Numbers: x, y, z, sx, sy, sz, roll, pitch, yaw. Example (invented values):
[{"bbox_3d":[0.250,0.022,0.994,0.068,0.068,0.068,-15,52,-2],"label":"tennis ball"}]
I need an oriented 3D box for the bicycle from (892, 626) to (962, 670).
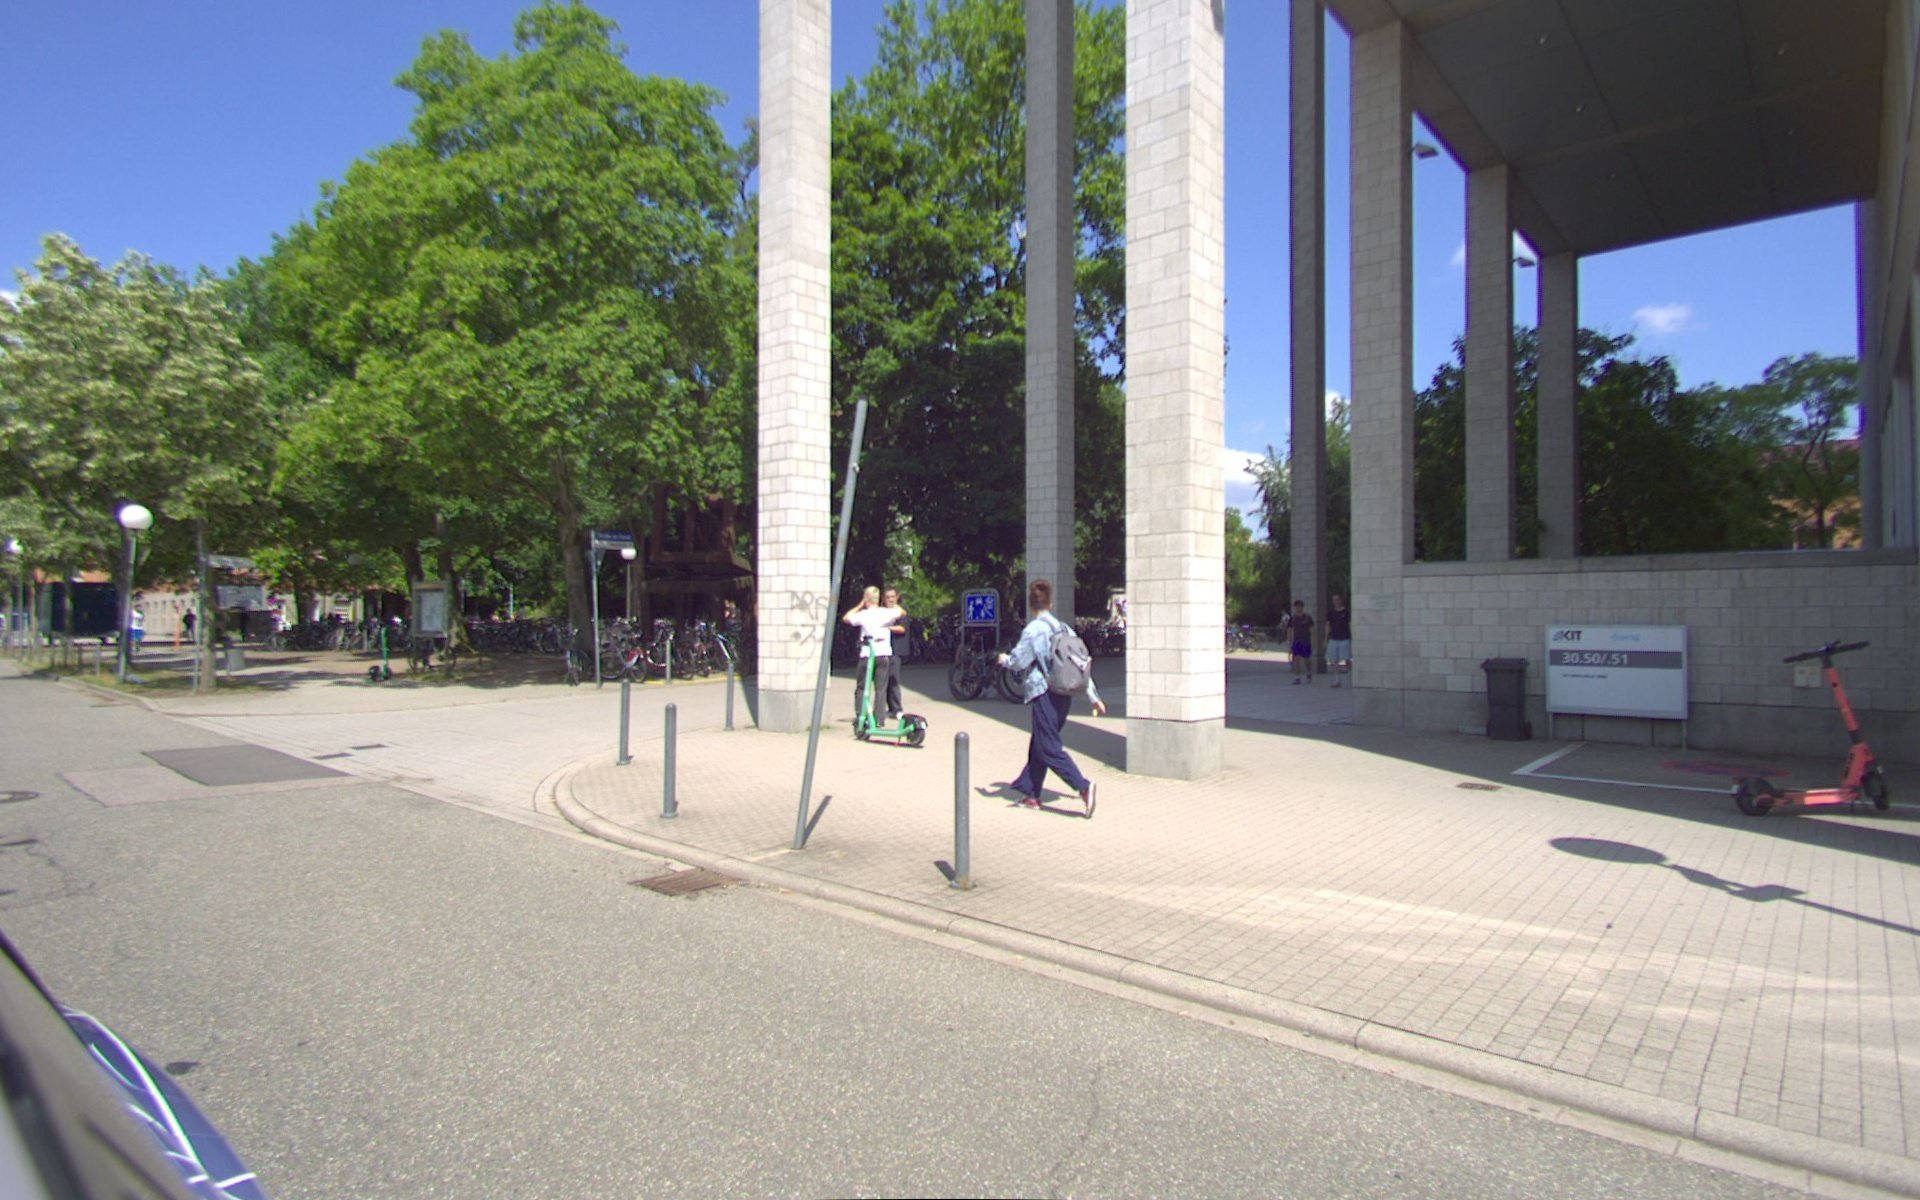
[{"bbox_3d":[-0.886,1.232,26.392,1.972,1.094,0.546,-1,0,42],"label":"bicycle"}]

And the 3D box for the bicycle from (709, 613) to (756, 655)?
[{"bbox_3d":[-7.504,1.103,33.516,0.870,1.306,3.083,-1,-1,-1],"label":"bicycle"}]

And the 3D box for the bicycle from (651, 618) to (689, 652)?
[{"bbox_3d":[-11.028,1.320,38.567,0.632,1.141,2.057,-2,2,6],"label":"bicycle"}]

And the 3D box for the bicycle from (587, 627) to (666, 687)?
[{"bbox_3d":[-6.585,1.103,19.926,1.972,1.094,0.546,-1,0,42],"label":"bicycle"}]

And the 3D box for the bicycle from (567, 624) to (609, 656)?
[{"bbox_3d":[-14.312,1.524,38.978,0.632,1.141,2.056,-2,0,6],"label":"bicycle"}]

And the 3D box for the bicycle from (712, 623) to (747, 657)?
[{"bbox_3d":[-8.636,1.478,37.963,0.632,1.141,2.056,-2,1,6],"label":"bicycle"}]

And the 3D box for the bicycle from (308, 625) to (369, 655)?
[{"bbox_3d":[-22.449,1.425,36.609,0.670,1.016,2.148,-1,-1,9],"label":"bicycle"}]

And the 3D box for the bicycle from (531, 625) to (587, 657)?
[{"bbox_3d":[-13.747,1.380,34.811,0.870,1.010,2.734,-1,-1,-1],"label":"bicycle"}]

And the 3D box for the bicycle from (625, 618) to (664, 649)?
[{"bbox_3d":[-12.062,1.273,38.768,0.632,1.141,2.056,-2,-1,6],"label":"bicycle"}]

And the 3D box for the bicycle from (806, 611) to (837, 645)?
[{"bbox_3d":[-5.130,1.018,37.570,0.632,1.141,2.057,-2,2,6],"label":"bicycle"}]

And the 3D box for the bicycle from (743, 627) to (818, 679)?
[{"bbox_3d":[-4.044,1.161,22.670,1.972,1.094,0.546,-1,0,42],"label":"bicycle"}]

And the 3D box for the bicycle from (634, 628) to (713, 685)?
[{"bbox_3d":[-5.818,1.120,20.502,1.972,1.094,0.546,-1,0,42],"label":"bicycle"}]

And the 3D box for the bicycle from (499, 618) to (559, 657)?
[{"bbox_3d":[-14.884,1.270,35.067,0.870,1.229,2.909,-1,-1,-1],"label":"bicycle"}]

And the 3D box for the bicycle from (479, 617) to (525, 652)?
[{"bbox_3d":[-17.924,1.331,39.653,0.632,1.244,2.056,-2,0,6],"label":"bicycle"}]

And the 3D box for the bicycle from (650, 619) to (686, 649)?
[{"bbox_3d":[-11.882,1.356,41.220,0.632,1.141,2.056,-2,-1,6],"label":"bicycle"}]

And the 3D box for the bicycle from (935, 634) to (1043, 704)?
[{"bbox_3d":[0.425,1.076,15.861,0.459,1.022,1.866,-1,-2,-44],"label":"bicycle"}]

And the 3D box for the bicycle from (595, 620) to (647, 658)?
[{"bbox_3d":[-11.425,1.286,34.230,0.870,1.188,2.709,-1,-1,-1],"label":"bicycle"}]

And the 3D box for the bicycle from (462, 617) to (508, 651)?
[{"bbox_3d":[-18.673,1.325,39.850,0.632,1.244,2.056,-2,-1,6],"label":"bicycle"}]

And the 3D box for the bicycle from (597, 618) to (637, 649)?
[{"bbox_3d":[-13.189,1.272,38.936,0.632,1.141,2.056,-2,-1,6],"label":"bicycle"}]

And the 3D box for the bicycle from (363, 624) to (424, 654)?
[{"bbox_3d":[-20.148,1.375,36.038,0.671,1.016,2.146,-1,-1,11],"label":"bicycle"}]

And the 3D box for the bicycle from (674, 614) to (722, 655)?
[{"bbox_3d":[-8.713,1.126,33.822,0.870,1.296,2.934,-1,-1,-1],"label":"bicycle"}]

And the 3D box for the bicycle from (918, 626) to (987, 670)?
[{"bbox_3d":[-0.208,1.247,26.825,1.972,1.094,0.546,-1,0,42],"label":"bicycle"}]

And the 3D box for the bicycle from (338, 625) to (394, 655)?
[{"bbox_3d":[-21.337,1.429,36.391,0.671,1.016,1.885,-1,-1,12],"label":"bicycle"}]

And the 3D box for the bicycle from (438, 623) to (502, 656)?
[{"bbox_3d":[-16.941,1.353,35.075,0.870,1.058,2.834,-1,-1,-1],"label":"bicycle"}]

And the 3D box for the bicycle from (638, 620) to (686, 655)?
[{"bbox_3d":[-9.996,1.249,34.059,0.870,1.084,2.684,-1,-1,-1],"label":"bicycle"}]

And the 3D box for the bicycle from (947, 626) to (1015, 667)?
[{"bbox_3d":[0.563,1.265,27.941,1.972,1.094,0.546,-1,0,42],"label":"bicycle"}]

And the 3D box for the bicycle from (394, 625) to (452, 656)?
[{"bbox_3d":[-18.853,1.397,35.626,0.668,1.016,2.651,-1,-1,-1],"label":"bicycle"}]

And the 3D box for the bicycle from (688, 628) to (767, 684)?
[{"bbox_3d":[-4.868,1.142,21.127,1.972,1.094,0.546,-1,0,42],"label":"bicycle"}]

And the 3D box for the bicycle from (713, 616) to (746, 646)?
[{"bbox_3d":[-9.312,1.230,40.926,0.632,1.141,2.056,-2,-1,6],"label":"bicycle"}]

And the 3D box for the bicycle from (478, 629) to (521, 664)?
[{"bbox_3d":[-17.455,1.743,38.390,0.473,1.141,2.057,-2,2,6],"label":"bicycle"}]

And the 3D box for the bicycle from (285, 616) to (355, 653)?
[{"bbox_3d":[-23.597,1.248,37.348,0.804,1.244,2.044,-1,1,24],"label":"bicycle"}]

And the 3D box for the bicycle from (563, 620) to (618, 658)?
[{"bbox_3d":[-12.651,1.304,34.741,0.870,1.187,2.884,-1,-1,-1],"label":"bicycle"}]

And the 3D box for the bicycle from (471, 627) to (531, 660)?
[{"bbox_3d":[-15.931,1.488,35.229,0.870,1.022,2.784,-1,-1,-1],"label":"bicycle"}]

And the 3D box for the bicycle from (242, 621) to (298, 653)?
[{"bbox_3d":[-25.970,1.369,38.132,0.456,1.140,1.764,-1,-1,24],"label":"bicycle"}]

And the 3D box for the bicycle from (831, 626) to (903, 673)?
[{"bbox_3d":[-2.306,1.200,24.841,1.972,1.094,0.546,-1,0,42],"label":"bicycle"}]

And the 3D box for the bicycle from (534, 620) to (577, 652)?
[{"bbox_3d":[-15.544,1.383,38.945,0.632,1.167,2.056,-2,-1,6],"label":"bicycle"}]

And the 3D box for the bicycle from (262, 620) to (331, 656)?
[{"bbox_3d":[-24.554,1.382,37.481,0.804,1.244,2.044,-1,0,24],"label":"bicycle"}]

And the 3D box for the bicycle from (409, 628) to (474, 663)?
[{"bbox_3d":[-17.992,1.557,35.181,0.870,1.094,2.752,-1,-1,-1],"label":"bicycle"}]

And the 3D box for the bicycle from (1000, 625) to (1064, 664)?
[{"bbox_3d":[2.124,1.300,30.073,1.972,1.094,0.546,-1,0,42],"label":"bicycle"}]

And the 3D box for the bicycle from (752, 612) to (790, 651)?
[{"bbox_3d":[-6.289,1.025,33.854,0.732,1.134,2.961,-1,1,-1],"label":"bicycle"}]

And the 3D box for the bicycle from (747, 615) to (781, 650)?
[{"bbox_3d":[-7.278,1.192,37.652,0.632,1.141,2.057,-1,2,6],"label":"bicycle"}]

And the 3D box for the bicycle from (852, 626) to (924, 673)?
[{"bbox_3d":[-1.810,1.211,25.165,1.972,1.094,0.546,-1,0,42],"label":"bicycle"}]

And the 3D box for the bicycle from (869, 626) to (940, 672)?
[{"bbox_3d":[-1.429,1.220,25.636,1.972,1.094,0.546,-1,0,42],"label":"bicycle"}]

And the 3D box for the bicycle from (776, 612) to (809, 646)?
[{"bbox_3d":[-6.219,1.064,37.658,0.666,1.141,2.057,-2,2,6],"label":"bicycle"}]
